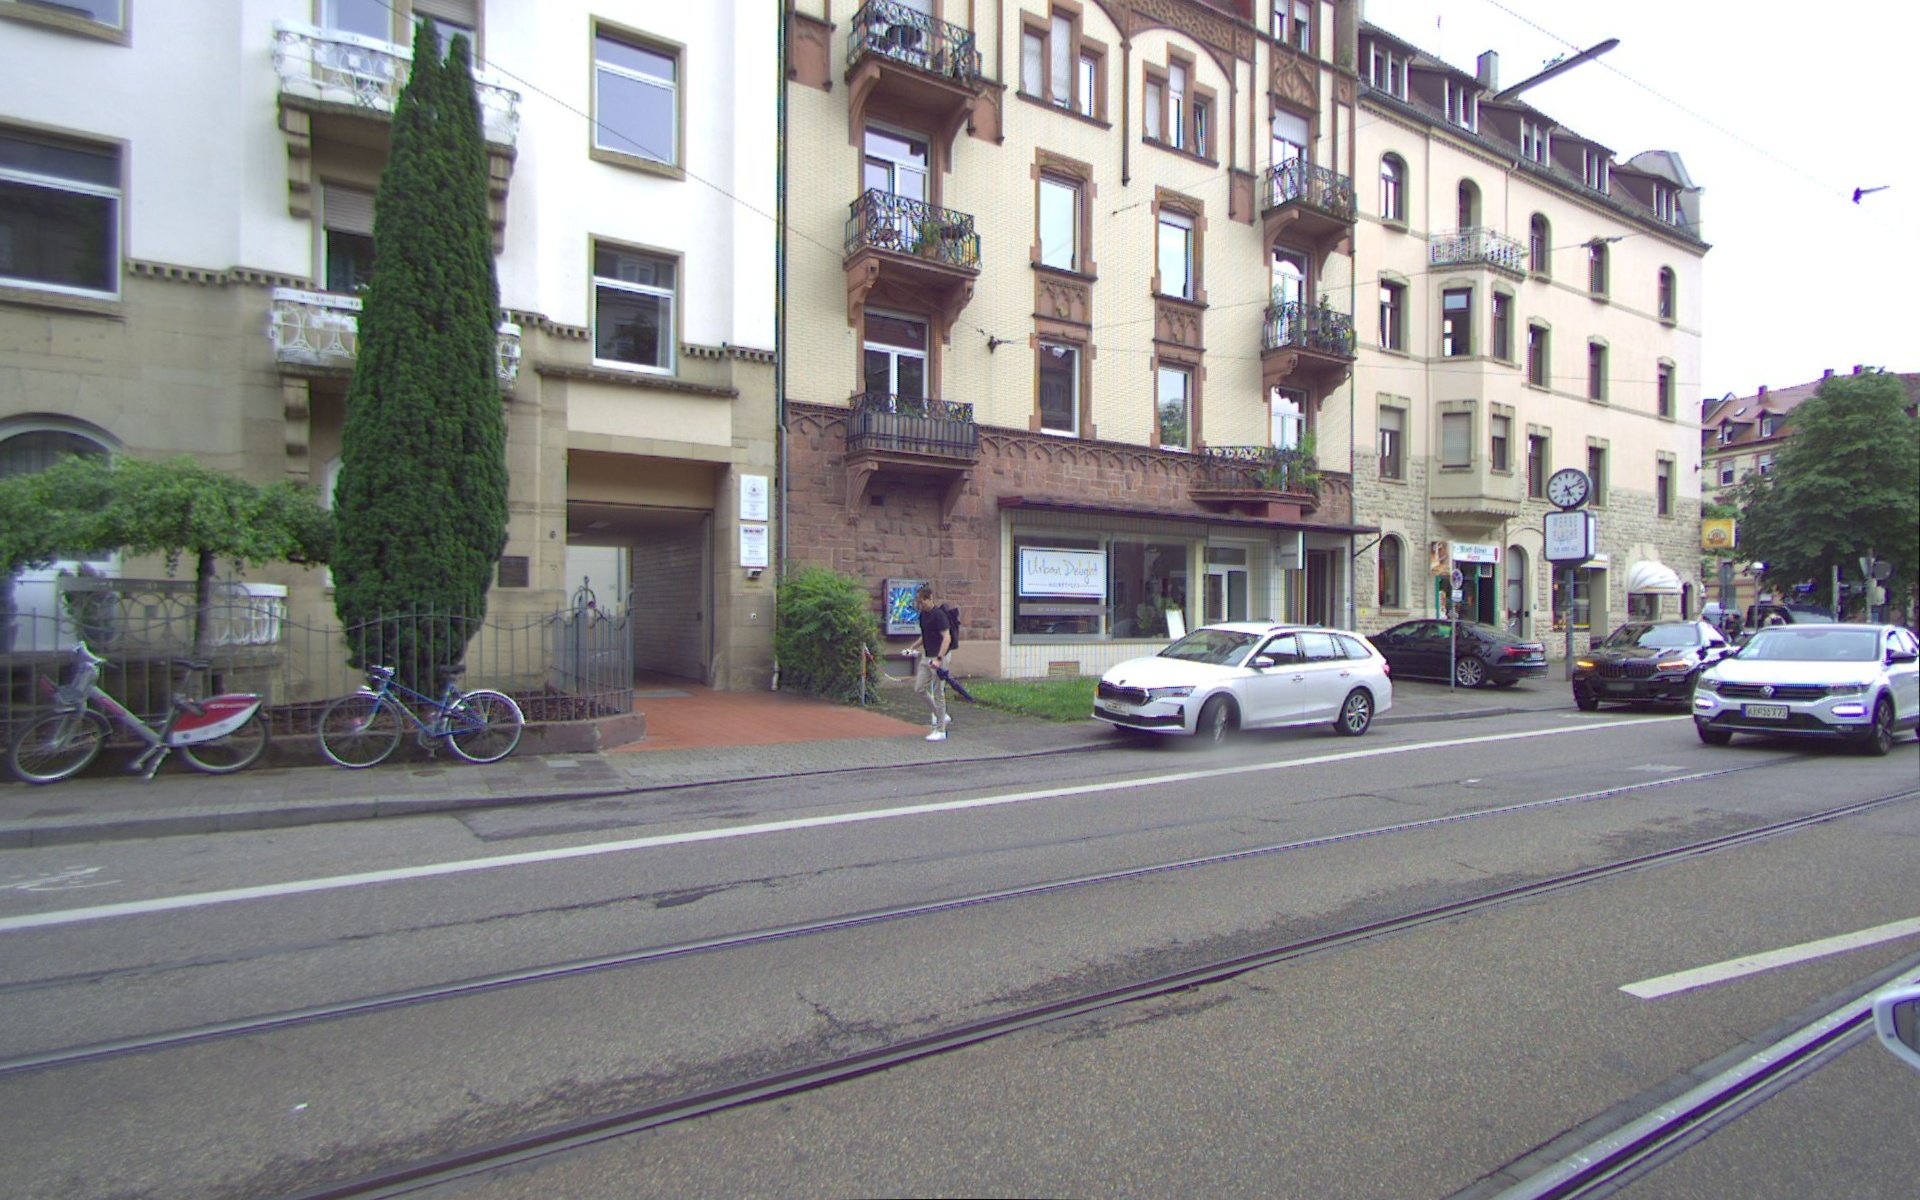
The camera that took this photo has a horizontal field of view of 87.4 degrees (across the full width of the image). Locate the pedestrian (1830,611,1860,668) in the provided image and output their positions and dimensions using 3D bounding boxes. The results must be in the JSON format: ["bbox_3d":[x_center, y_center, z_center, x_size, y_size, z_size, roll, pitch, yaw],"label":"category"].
[{"bbox_3d":[29.385,1.291,33.340,0.603,1.867,0.619,1,-1,-34],"label":"pedestrian"}]

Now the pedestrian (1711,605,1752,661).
[{"bbox_3d":[28.481,1.212,37.069,0.826,2.040,0.969,1,-1,-32],"label":"pedestrian"}]

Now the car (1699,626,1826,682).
[{"bbox_3d":[22.530,1.476,28.163,4.087,1.380,1.638,1,1,-34],"label":"car"}]

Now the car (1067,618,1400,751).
[{"bbox_3d":[3.737,1.004,13.409,4.559,1.504,1.737,1,-1,-33],"label":"car"}]

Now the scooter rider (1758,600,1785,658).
[{"bbox_3d":[29.277,1.046,36.263,0.632,2.040,0.756,0,-1,30],"label":"scooter rider"}]

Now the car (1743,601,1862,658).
[{"bbox_3d":[38.320,1.305,45.903,2.142,2.449,5.383,0,-1,16],"label":"car"}]

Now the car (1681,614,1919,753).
[{"bbox_3d":[10.970,0.963,12.771,3.890,1.516,1.688,1,-2,-34],"label":"car"}]

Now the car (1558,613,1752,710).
[{"bbox_3d":[13.444,1.140,19.326,4.848,1.632,1.867,2,-4,-41],"label":"car"}]

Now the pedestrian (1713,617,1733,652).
[{"bbox_3d":[39.059,1.760,51.417,0.686,1.738,0.552,0,-1,19],"label":"pedestrian"}]

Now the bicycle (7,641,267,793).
[{"bbox_3d":[-6.675,0.905,8.218,1.614,1.116,0.381,1,-1,-44],"label":"bicycle"}]

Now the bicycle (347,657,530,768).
[{"bbox_3d":[-4.880,1.028,9.448,1.498,0.950,0.330,1,-1,-33],"label":"bicycle"}]

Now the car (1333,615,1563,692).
[{"bbox_3d":[11.107,1.149,23.147,1.862,1.389,4.394,1,2,-36],"label":"car"}]

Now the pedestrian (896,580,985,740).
[{"bbox_3d":[-0.241,0.718,12.280,0.873,1.868,0.664,1,-1,-33],"label":"pedestrian"}]

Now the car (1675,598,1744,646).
[{"bbox_3d":[41.530,1.217,55.801,2.145,2.561,5.375,0,-1,26],"label":"car"}]
